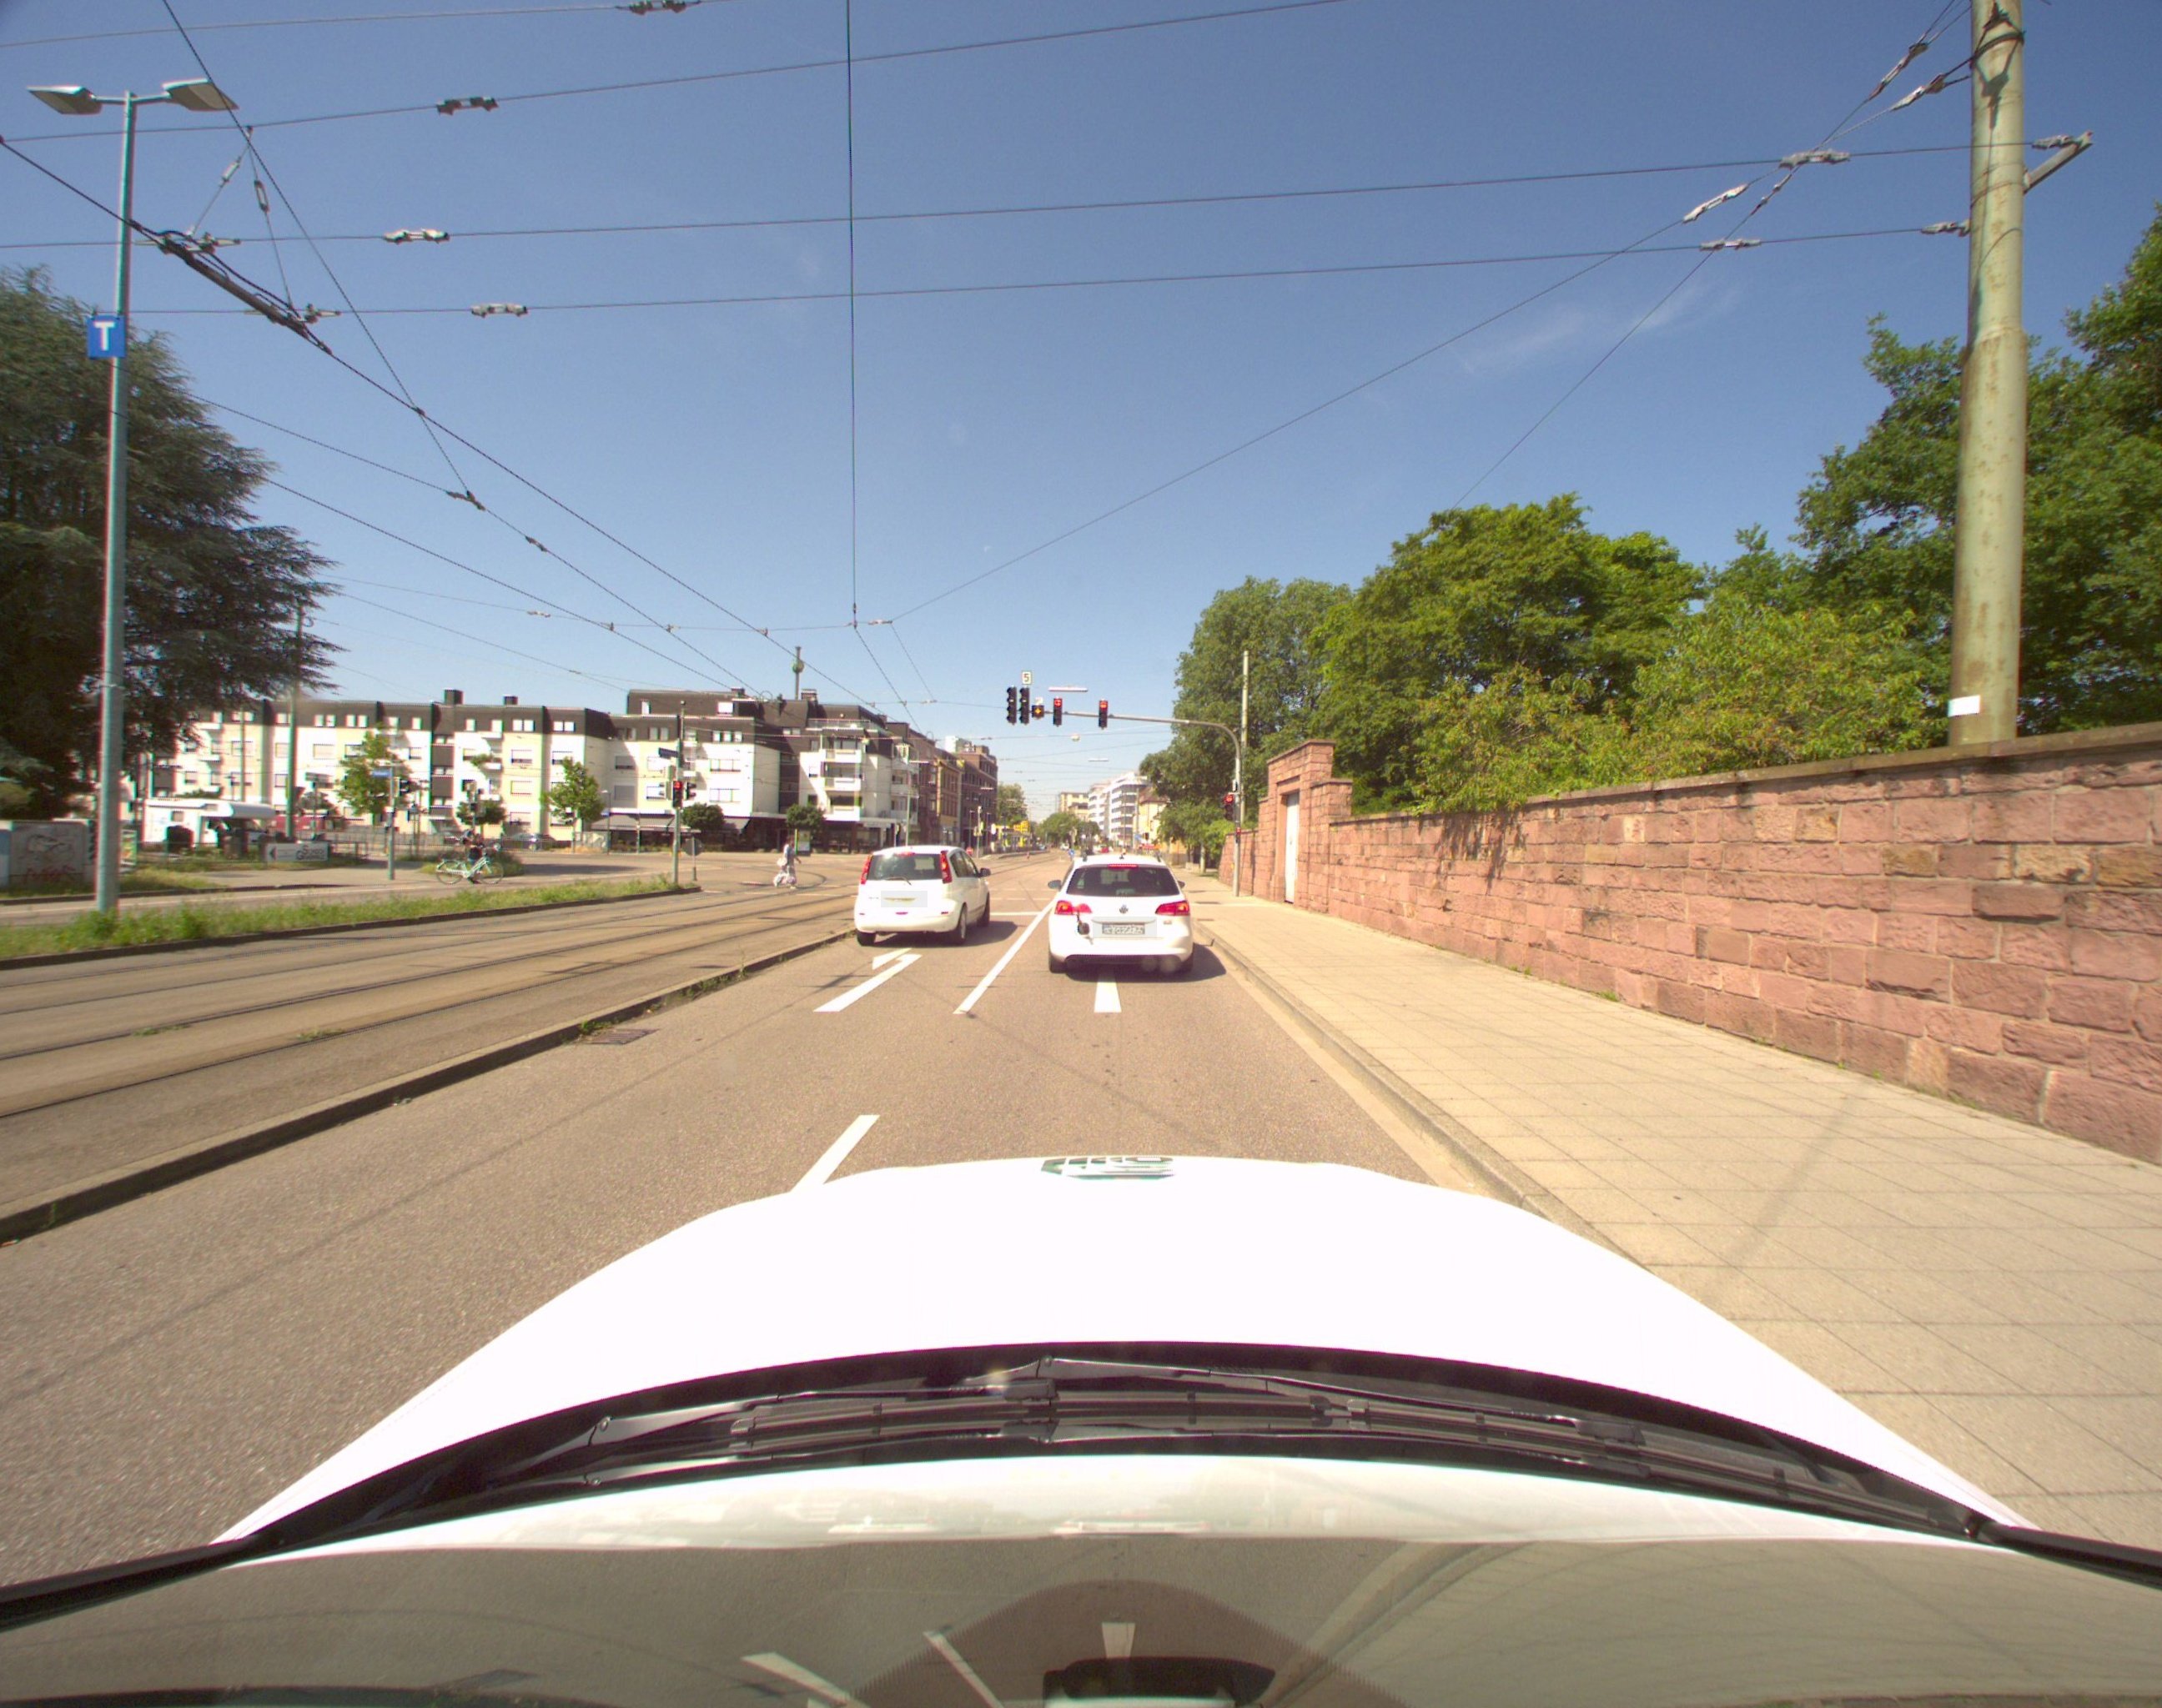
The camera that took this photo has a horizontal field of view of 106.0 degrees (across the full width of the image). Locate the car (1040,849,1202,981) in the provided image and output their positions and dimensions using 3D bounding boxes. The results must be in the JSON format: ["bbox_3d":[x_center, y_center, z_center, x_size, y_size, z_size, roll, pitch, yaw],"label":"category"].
[{"bbox_3d":[0.509,0.669,11.052,1.801,1.448,4.002,0,1,2],"label":"car"}]

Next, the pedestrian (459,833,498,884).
[{"bbox_3d":[-18.823,0.151,25.458,0.746,1.572,0.672,0,-1,-13],"label":"pedestrian"}]

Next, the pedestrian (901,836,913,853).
[{"bbox_3d":[-17.749,-0.953,83.047,0.980,1.743,0.854,0,-1,-43],"label":"pedestrian"}]

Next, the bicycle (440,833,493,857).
[{"bbox_3d":[-34.224,-0.477,45.377,2.254,1.297,0.555,0,-1,-27],"label":"bicycle"}]

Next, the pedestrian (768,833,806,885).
[{"bbox_3d":[-9.369,0.159,25.981,0.971,1.651,0.953,0,-1,-10],"label":"pedestrian"}]

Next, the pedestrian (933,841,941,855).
[{"bbox_3d":[-17.306,-0.738,98.003,0.860,1.743,0.974,0,-1,-4],"label":"pedestrian"}]

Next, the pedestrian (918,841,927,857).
[{"bbox_3d":[-17.481,-0.575,89.884,0.860,1.743,0.974,0,-1,-4],"label":"pedestrian"}]

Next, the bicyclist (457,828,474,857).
[{"bbox_3d":[-34.282,-0.649,45.355,0.639,1.612,0.558,0,-1,-26],"label":"bicyclist"}]

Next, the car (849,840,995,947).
[{"bbox_3d":[-2.574,0.561,14.051,1.635,1.566,3.806,0,1,2],"label":"car"}]

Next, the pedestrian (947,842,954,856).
[{"bbox_3d":[-16.638,-0.633,103.885,0.860,1.743,0.974,0,-1,-4],"label":"pedestrian"}]

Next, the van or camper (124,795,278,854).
[{"bbox_3d":[-48.612,-1.604,45.092,5.664,3.092,2.576,0,-1,1],"label":"van or camper"}]

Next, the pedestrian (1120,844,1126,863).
[{"bbox_3d":[5.214,-0.049,100.131,0.687,2.325,1.233,0,-1,3],"label":"pedestrian"}]

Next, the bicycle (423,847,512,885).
[{"bbox_3d":[-18.652,0.364,24.804,2.021,1.090,0.707,1,0,-13],"label":"bicycle"}]
